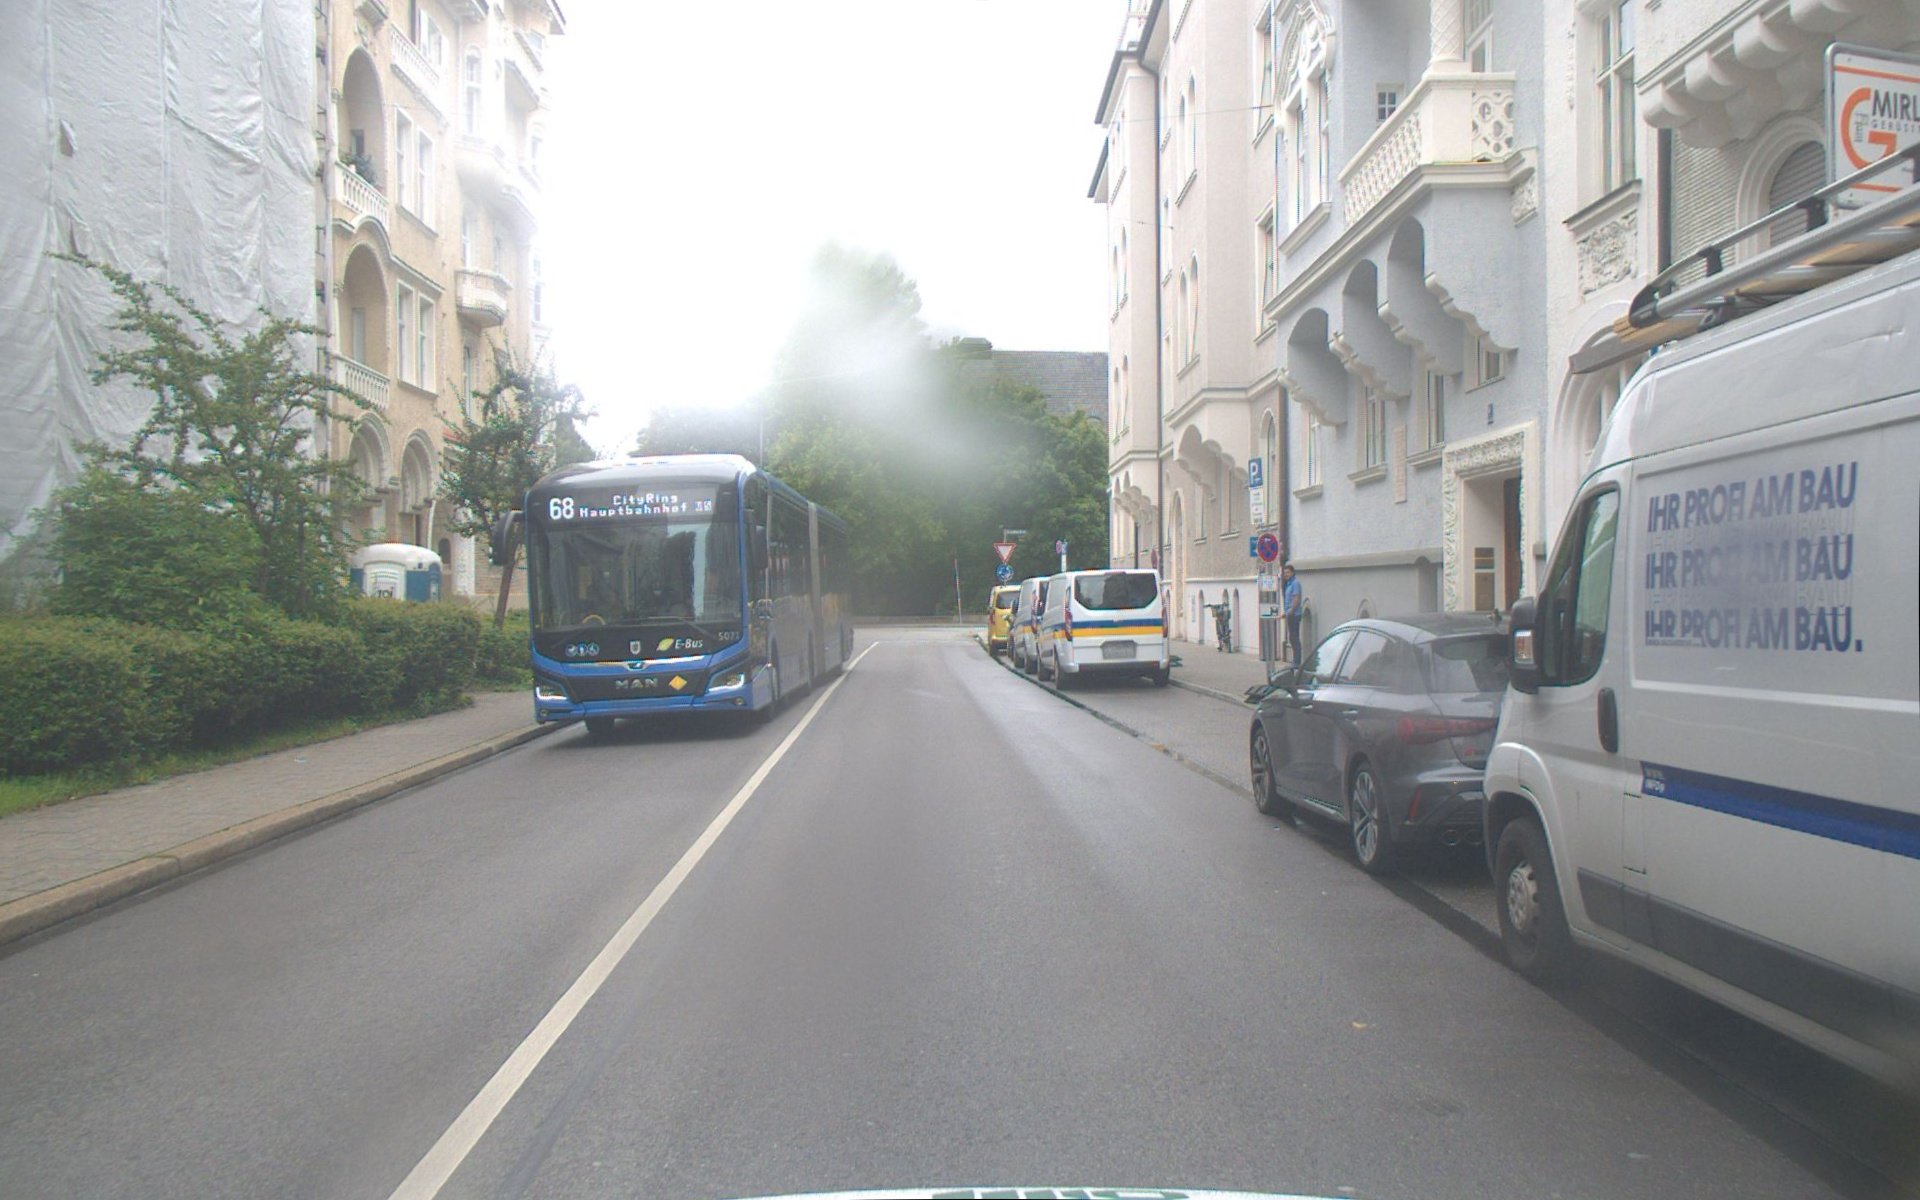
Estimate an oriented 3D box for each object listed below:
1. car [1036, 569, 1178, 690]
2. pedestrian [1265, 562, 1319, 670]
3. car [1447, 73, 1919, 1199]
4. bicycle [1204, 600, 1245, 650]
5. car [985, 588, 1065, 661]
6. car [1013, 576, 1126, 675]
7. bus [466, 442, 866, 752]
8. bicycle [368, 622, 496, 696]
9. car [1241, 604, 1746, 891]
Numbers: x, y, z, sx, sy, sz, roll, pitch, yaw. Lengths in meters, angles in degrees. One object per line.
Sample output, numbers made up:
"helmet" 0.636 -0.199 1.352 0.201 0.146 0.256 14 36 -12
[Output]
"car" 2.541 0.490 29.687 1.953 1.952 4.876 -1 0 -2
"pedestrian" 6.073 0.286 30.295 0.834 1.936 0.746 -1 0 1
"car" 3.322 0.082 4.863 2.034 2.735 5.444 -2 0 -1
"bicycle" 6.284 0.580 39.364 0.652 1.153 1.722 -1 0 -1
"car" 1.787 0.667 46.920 1.953 1.952 4.569 -1 0 -2
"car" 2.268 0.505 35.638 1.953 1.952 4.884 -1 0 -2
"bus" -3.744 -0.034 27.156 3.106 3.268 18.058 -2 0 0
"bicycle" -8.730 0.965 27.388 1.822 1.096 0.690 3 0 0
"car" 3.100 0.757 10.602 1.752 1.432 4.243 -1 0 -2
